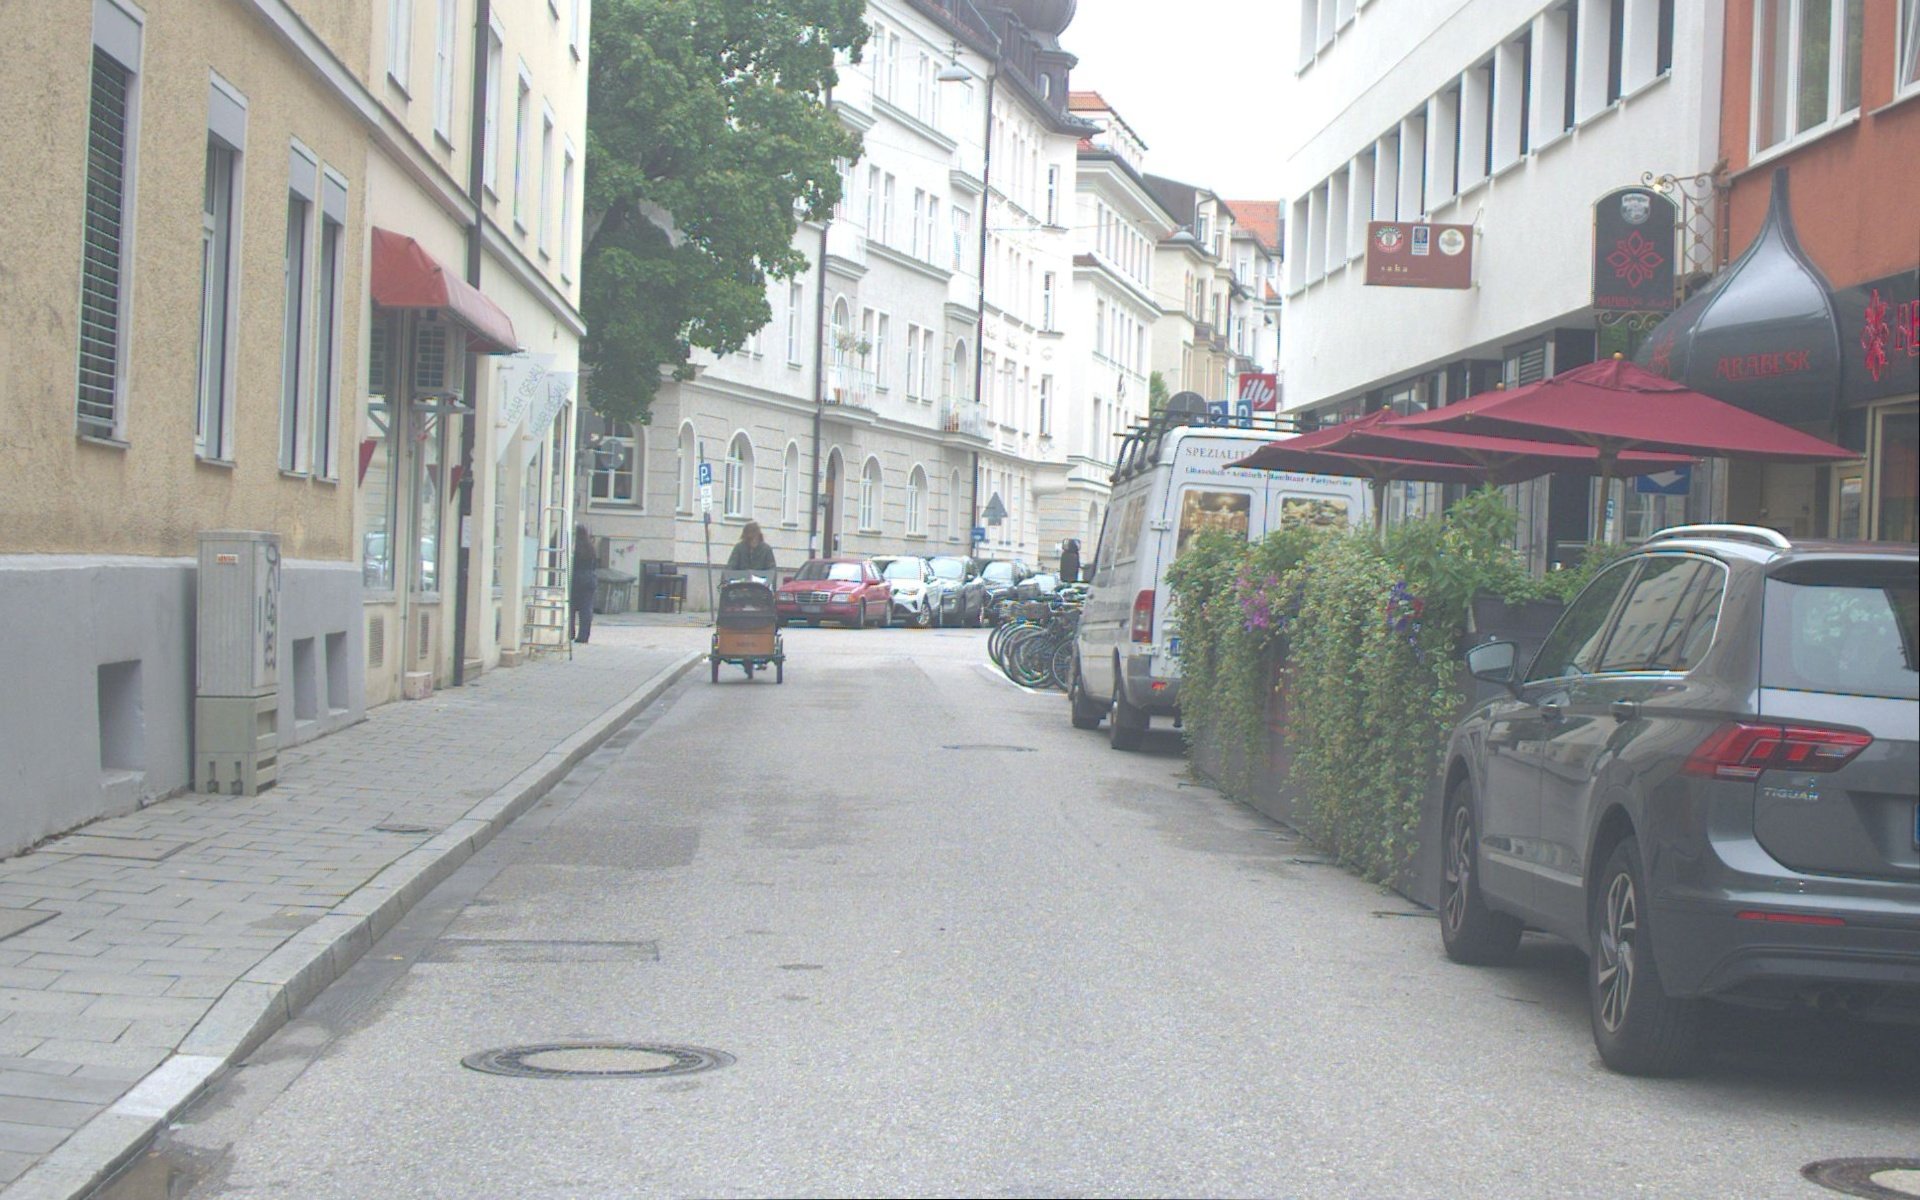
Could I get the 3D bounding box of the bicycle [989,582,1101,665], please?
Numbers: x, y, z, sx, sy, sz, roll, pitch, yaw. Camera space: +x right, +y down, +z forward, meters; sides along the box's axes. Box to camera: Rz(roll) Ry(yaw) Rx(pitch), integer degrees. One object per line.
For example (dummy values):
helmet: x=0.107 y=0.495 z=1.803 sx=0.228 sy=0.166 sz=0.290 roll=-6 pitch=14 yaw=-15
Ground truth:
bicycle: x=1.174 y=0.327 z=47.629 sx=1.450 sy=1.066 sz=0.463 roll=3 pitch=1 yaw=-9

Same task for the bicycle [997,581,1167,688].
bicycle: x=1.419 y=0.401 z=40.214 sx=1.873 sy=1.104 sz=0.488 roll=4 pitch=2 yaw=-4

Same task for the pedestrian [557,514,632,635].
pedestrian: x=-5.070 y=-0.357 z=47.664 sx=0.662 sy=1.626 sz=0.694 roll=3 pitch=0 yaw=33

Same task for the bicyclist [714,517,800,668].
bicyclist: x=-2.349 y=-0.095 z=39.912 sx=0.926 sy=1.715 sz=1.099 roll=1 pitch=1 yaw=-1

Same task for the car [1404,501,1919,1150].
car: x=2.751 y=0.609 z=11.442 sx=1.824 sy=1.704 sz=4.389 roll=3 pitch=1 yaw=-1

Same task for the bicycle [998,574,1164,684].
bicycle: x=1.429 y=0.341 z=40.734 sx=1.873 sy=1.200 sz=0.488 roll=2 pitch=2 yaw=-4

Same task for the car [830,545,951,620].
car: x=-1.444 y=-0.370 z=72.983 sx=1.994 sy=1.468 sz=4.217 roll=2 pitch=1 yaw=6

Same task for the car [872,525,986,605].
car: x=-0.675 y=-0.788 z=78.373 sx=1.943 sy=1.696 sz=3.999 roll=3 pitch=1 yaw=8

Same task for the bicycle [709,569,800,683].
bicycle: x=-2.349 y=0.281 z=39.565 sx=0.932 sy=1.253 sz=2.414 roll=1 pitch=0 yaw=-1

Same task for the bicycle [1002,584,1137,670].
bicycle: x=1.471 y=0.366 z=46.403 sx=1.740 sy=1.076 sz=0.452 roll=2 pitch=2 yaw=-5

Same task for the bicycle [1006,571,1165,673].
bicycle: x=1.535 y=0.267 z=42.151 sx=1.873 sy=1.200 sz=0.580 roll=1 pitch=1 yaw=-4

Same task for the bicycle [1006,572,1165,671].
bicycle: x=1.559 y=0.265 z=42.750 sx=1.893 sy=1.166 sz=0.566 roll=2 pitch=1 yaw=-4

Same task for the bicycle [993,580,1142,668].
bicycle: x=1.413 y=0.316 z=45.161 sx=1.873 sy=1.076 sz=0.408 roll=2 pitch=2 yaw=-5

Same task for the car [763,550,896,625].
car: x=-2.552 y=-0.248 z=68.219 sx=1.731 sy=1.373 sz=4.225 roll=3 pitch=1 yaw=10

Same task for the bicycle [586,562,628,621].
bicycle: x=-6.919 y=-0.177 z=67.412 sx=0.493 sy=1.049 sz=1.827 roll=2 pitch=3 yaw=3

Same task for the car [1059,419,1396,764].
car: x=2.107 y=-0.114 z=28.937 sx=1.920 sy=2.497 sz=5.998 roll=3 pitch=1 yaw=-3

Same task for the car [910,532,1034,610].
car: x=0.321 y=-0.689 z=83.056 sx=1.995 sy=1.732 sz=4.519 roll=3 pitch=1 yaw=12

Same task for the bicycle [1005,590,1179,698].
bicycle: x=1.506 y=0.498 z=39.393 sx=1.873 sy=1.076 sz=0.488 roll=4 pitch=2 yaw=-4

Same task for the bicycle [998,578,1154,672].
bicycle: x=1.461 y=0.315 z=43.321 sx=1.873 sy=1.091 sz=0.440 roll=2 pitch=2 yaw=-5
